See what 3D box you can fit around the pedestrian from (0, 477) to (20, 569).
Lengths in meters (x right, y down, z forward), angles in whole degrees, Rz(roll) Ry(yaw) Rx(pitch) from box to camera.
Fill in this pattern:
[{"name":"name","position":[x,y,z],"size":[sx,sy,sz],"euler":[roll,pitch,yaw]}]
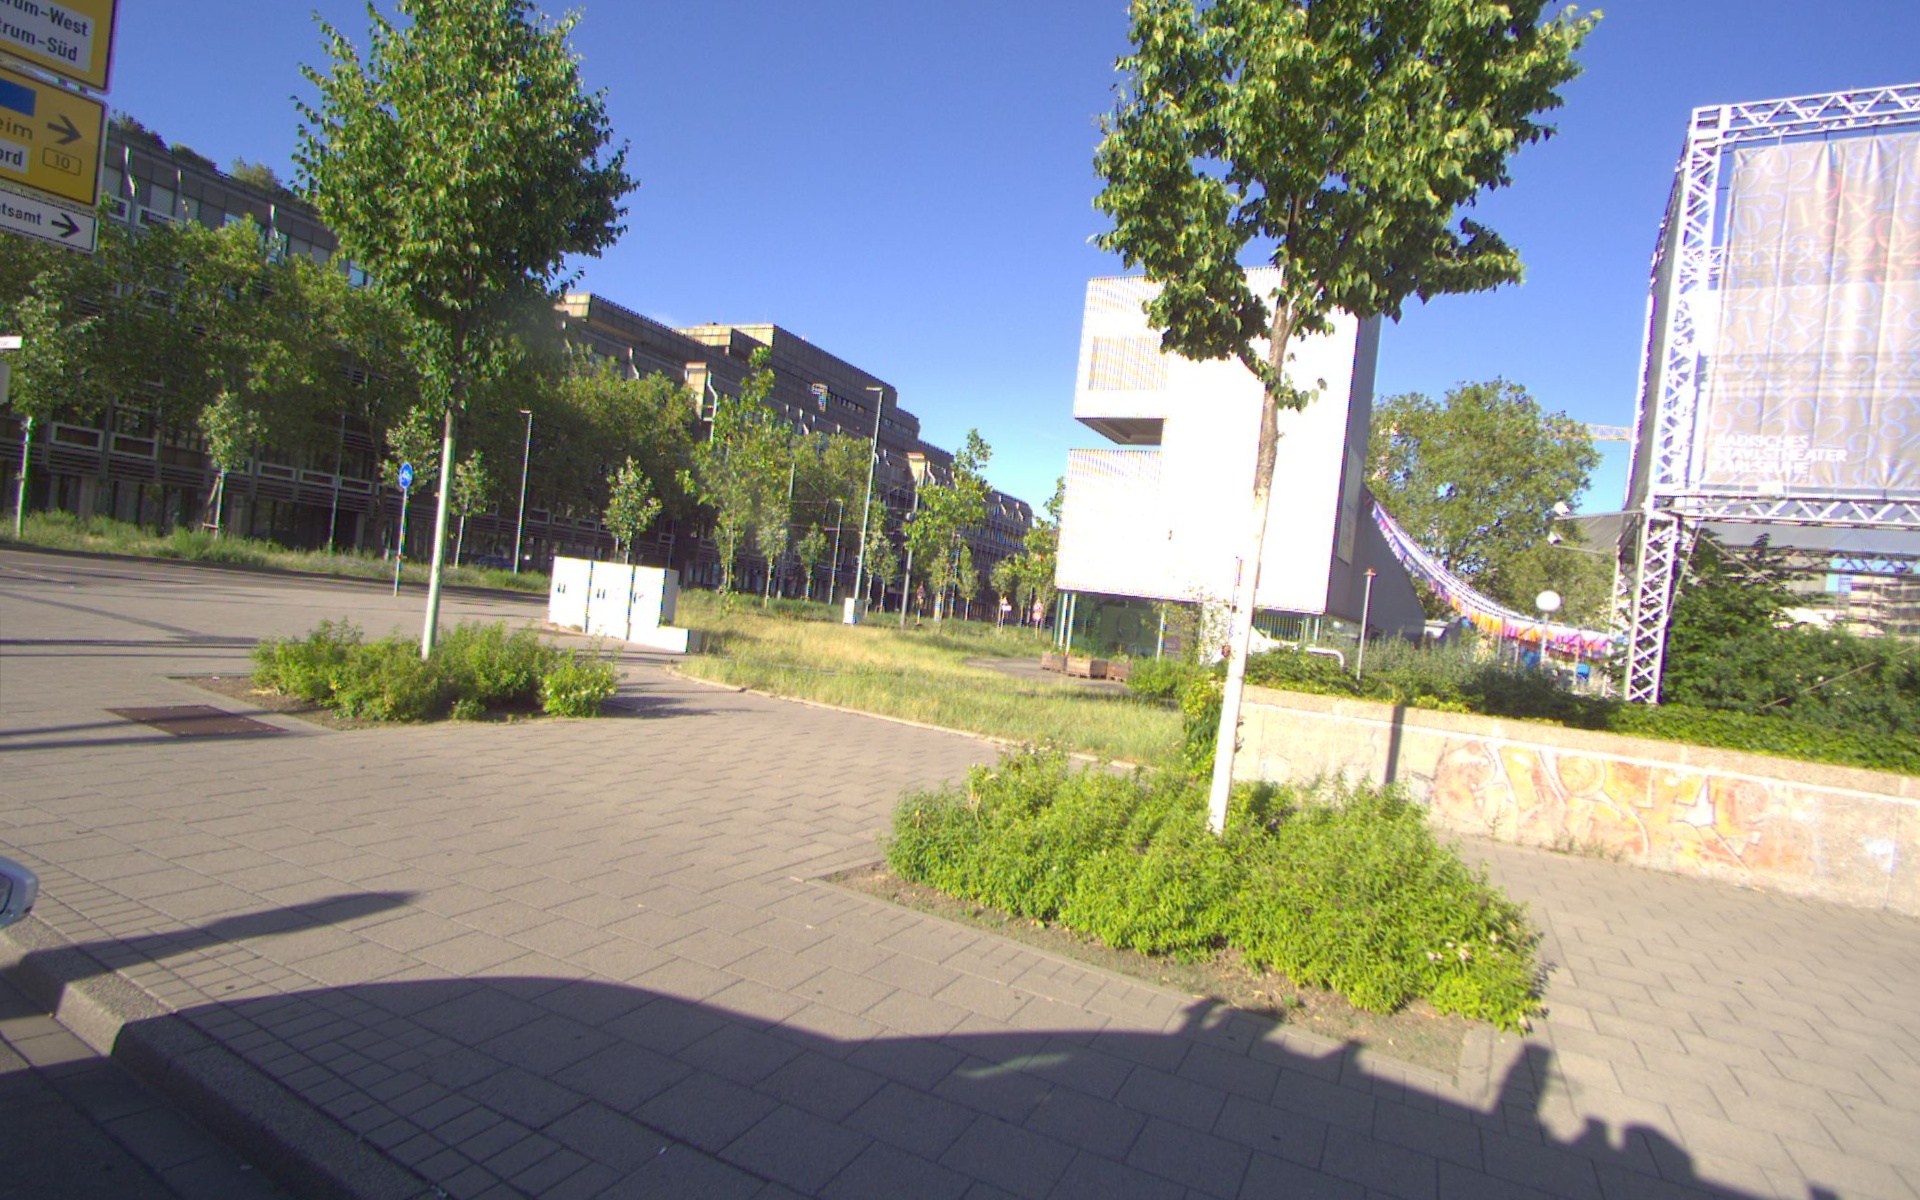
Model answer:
[{"name":"pedestrian","position":[-18.277,-1.495,18.546],"size":[0.946,1.684,0.882],"euler":[7,-1,16]}]
